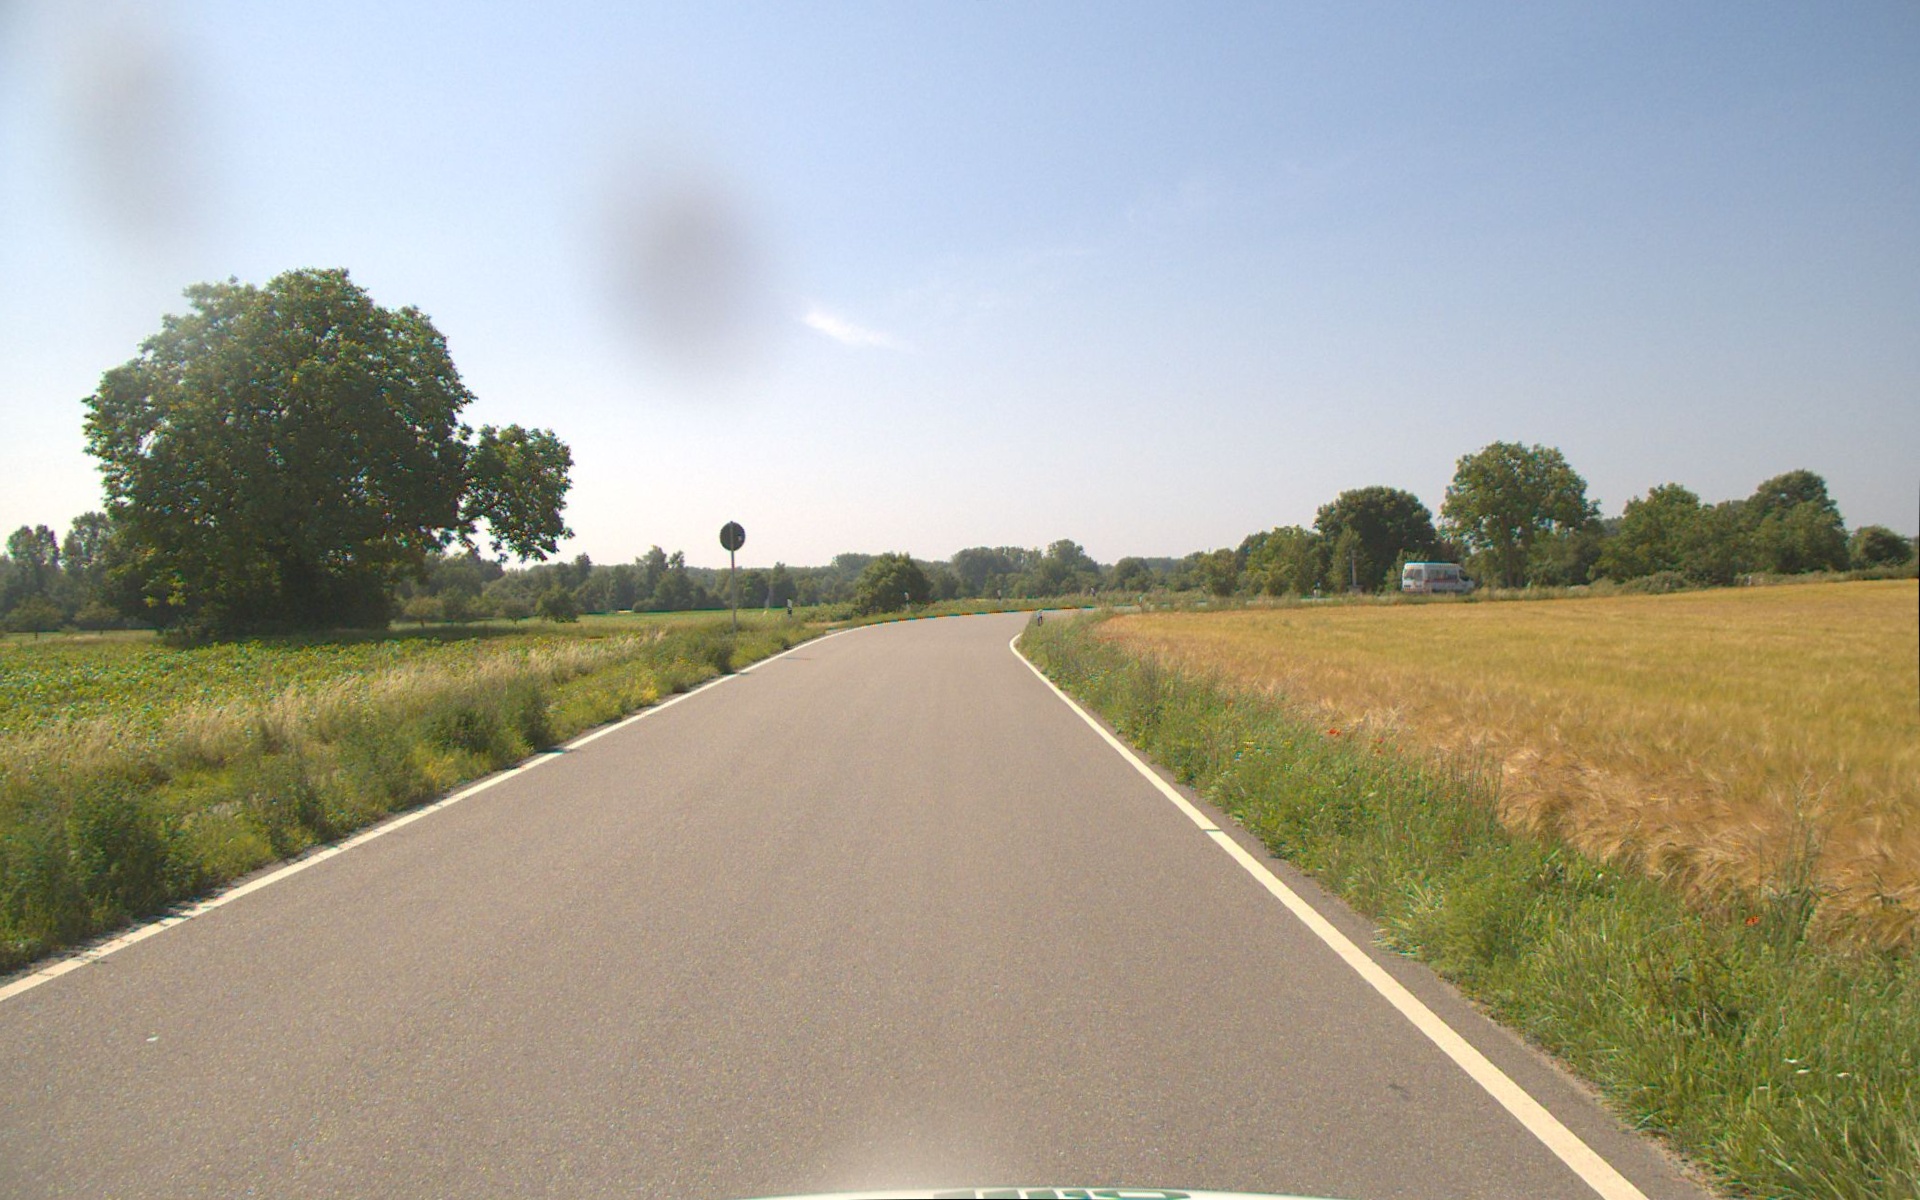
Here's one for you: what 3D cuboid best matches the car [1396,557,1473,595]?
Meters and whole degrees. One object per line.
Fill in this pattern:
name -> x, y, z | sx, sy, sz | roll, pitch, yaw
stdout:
car -> 32.688, -1.637, 113.879 | 5.627, 2.408, 2.083 | -2, 0, -37
